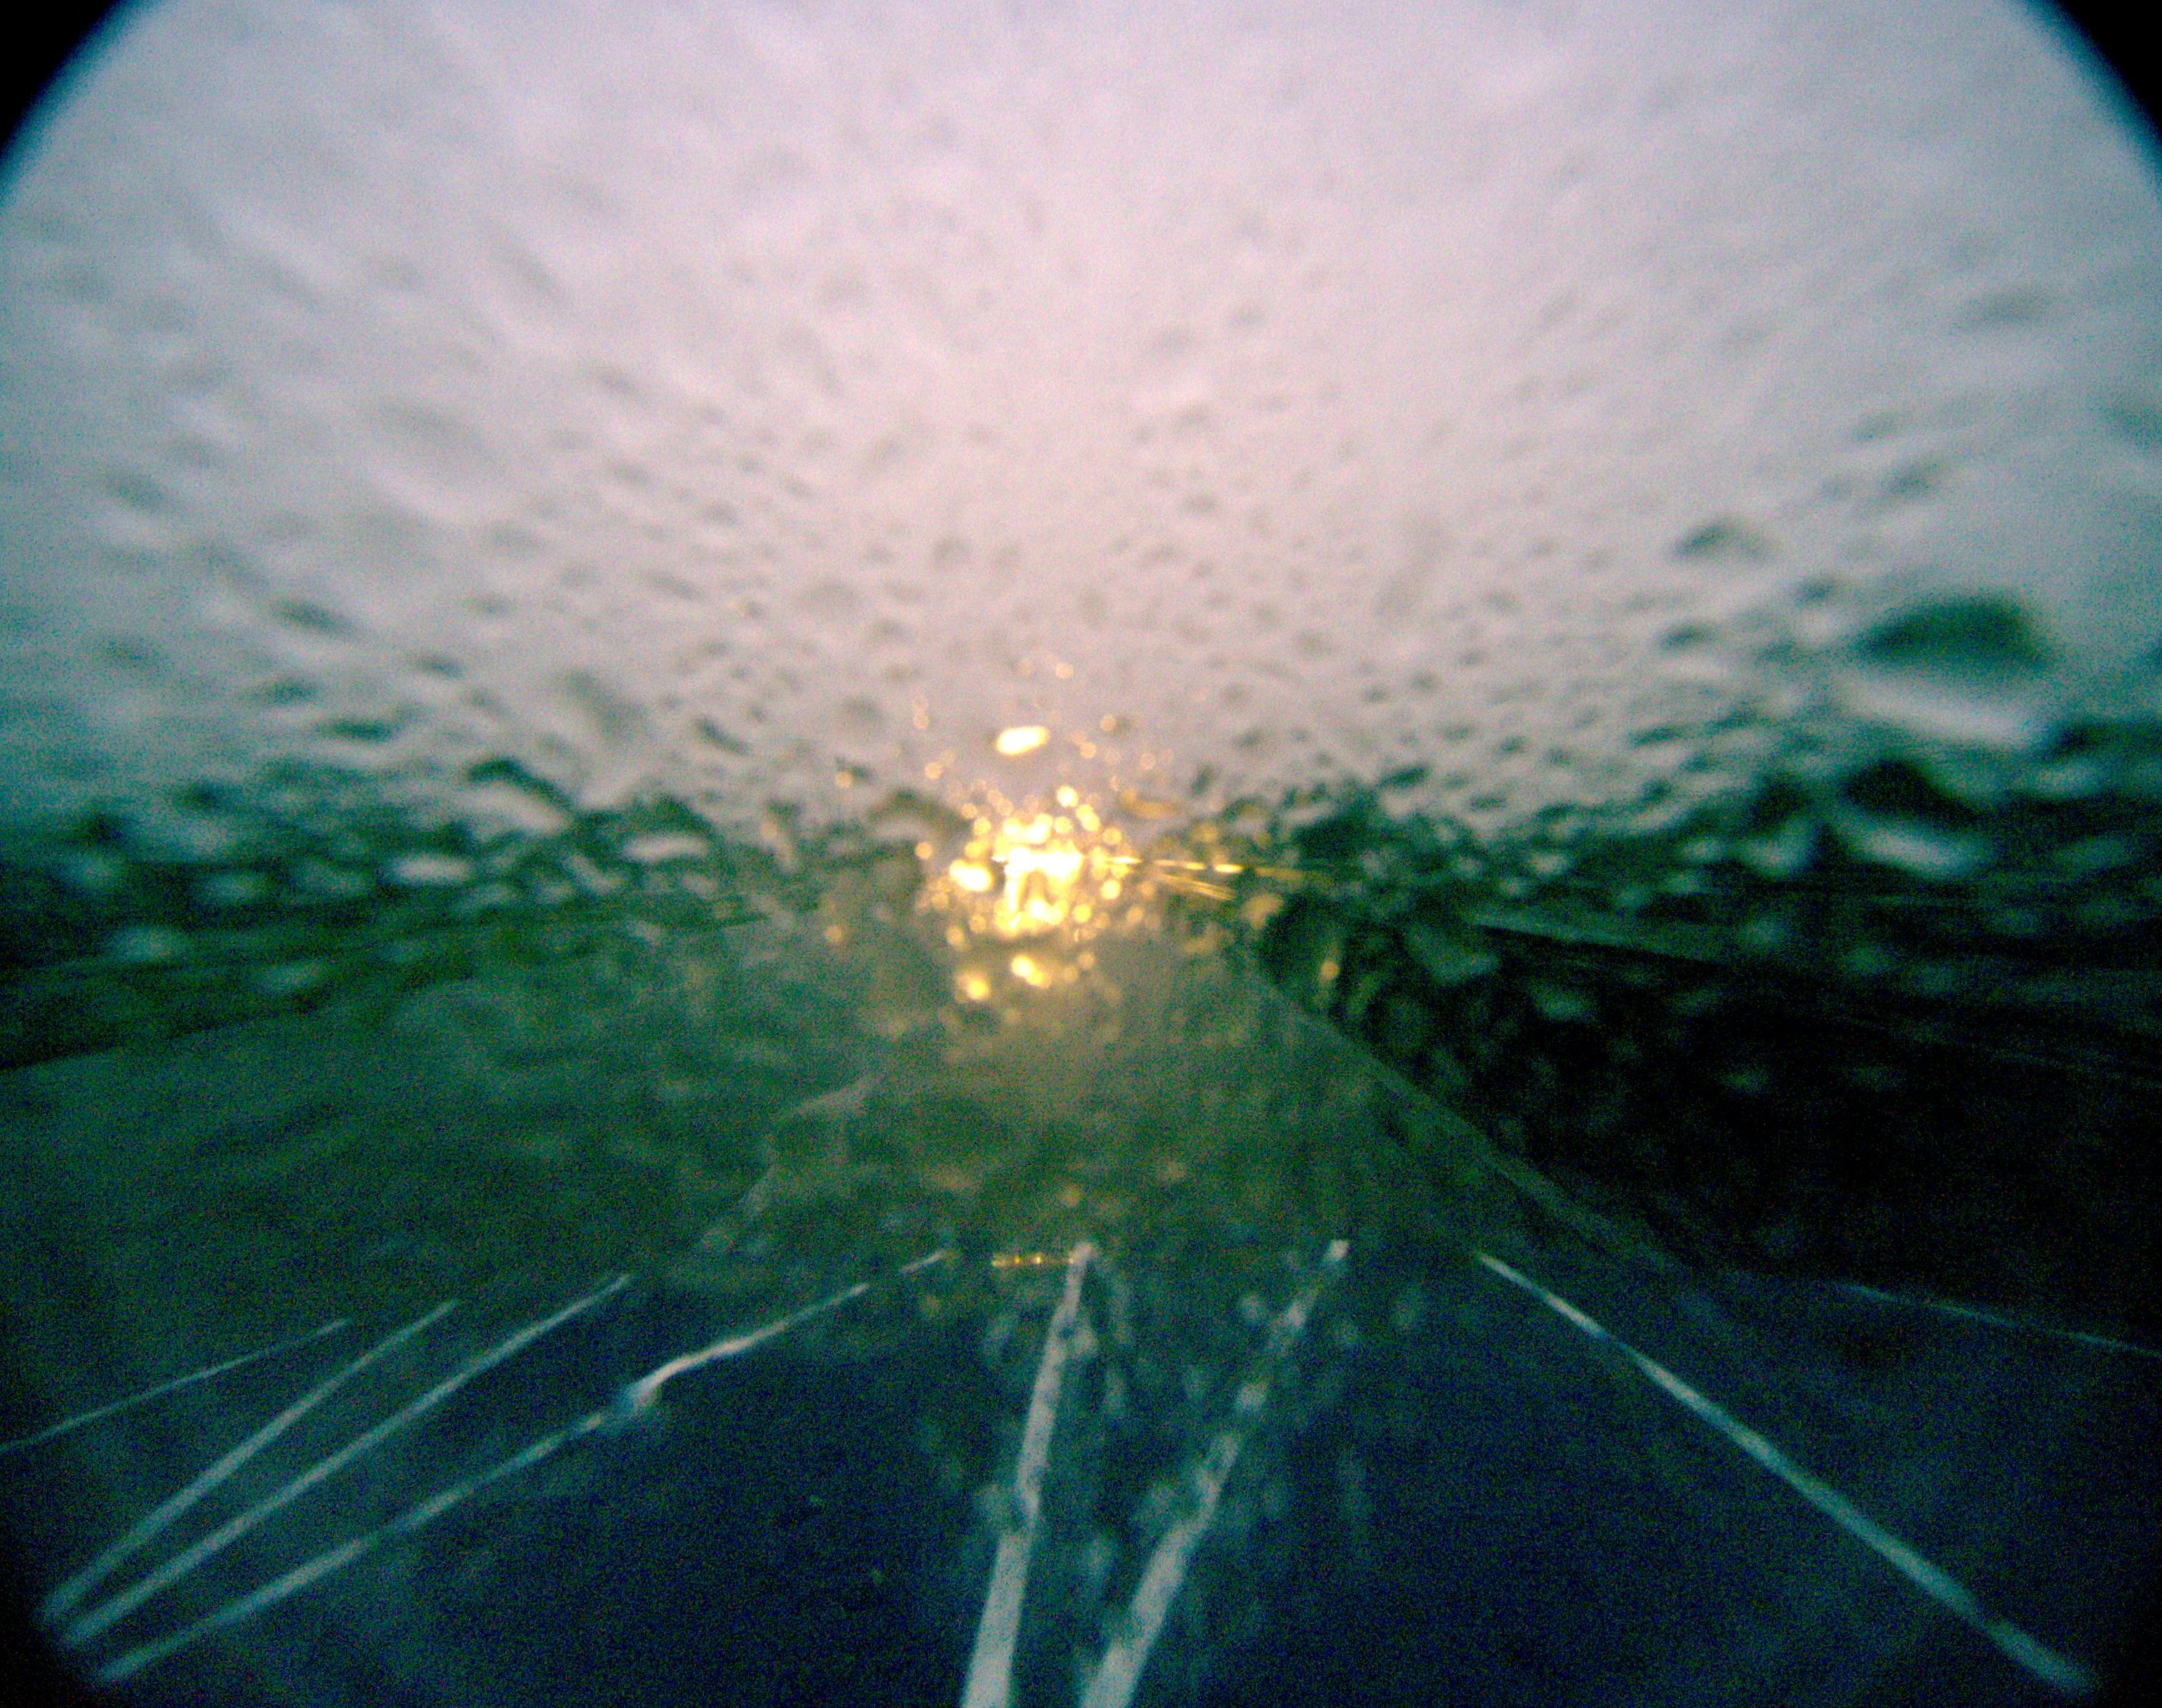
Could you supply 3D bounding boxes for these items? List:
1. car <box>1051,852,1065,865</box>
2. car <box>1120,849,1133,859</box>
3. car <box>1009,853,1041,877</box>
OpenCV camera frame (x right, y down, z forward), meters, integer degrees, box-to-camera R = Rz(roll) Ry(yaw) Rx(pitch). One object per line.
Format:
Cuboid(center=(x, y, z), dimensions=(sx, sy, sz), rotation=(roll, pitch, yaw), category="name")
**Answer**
Cuboid(center=(-2.813, 0.571, 92.396), dimensions=(1.632, 1.465, 3.999), rotation=(-1, 0, -2), category="car")
Cuboid(center=(7.129, 0.016, 119.253), dimensions=(1.537, 1.357, 3.999), rotation=(-3, 1, -2), category="car")
Cuboid(center=(-3.937, 0.761, 53.886), dimensions=(1.802, 1.494, 4.000), rotation=(-3, 0, 1), category="car")
